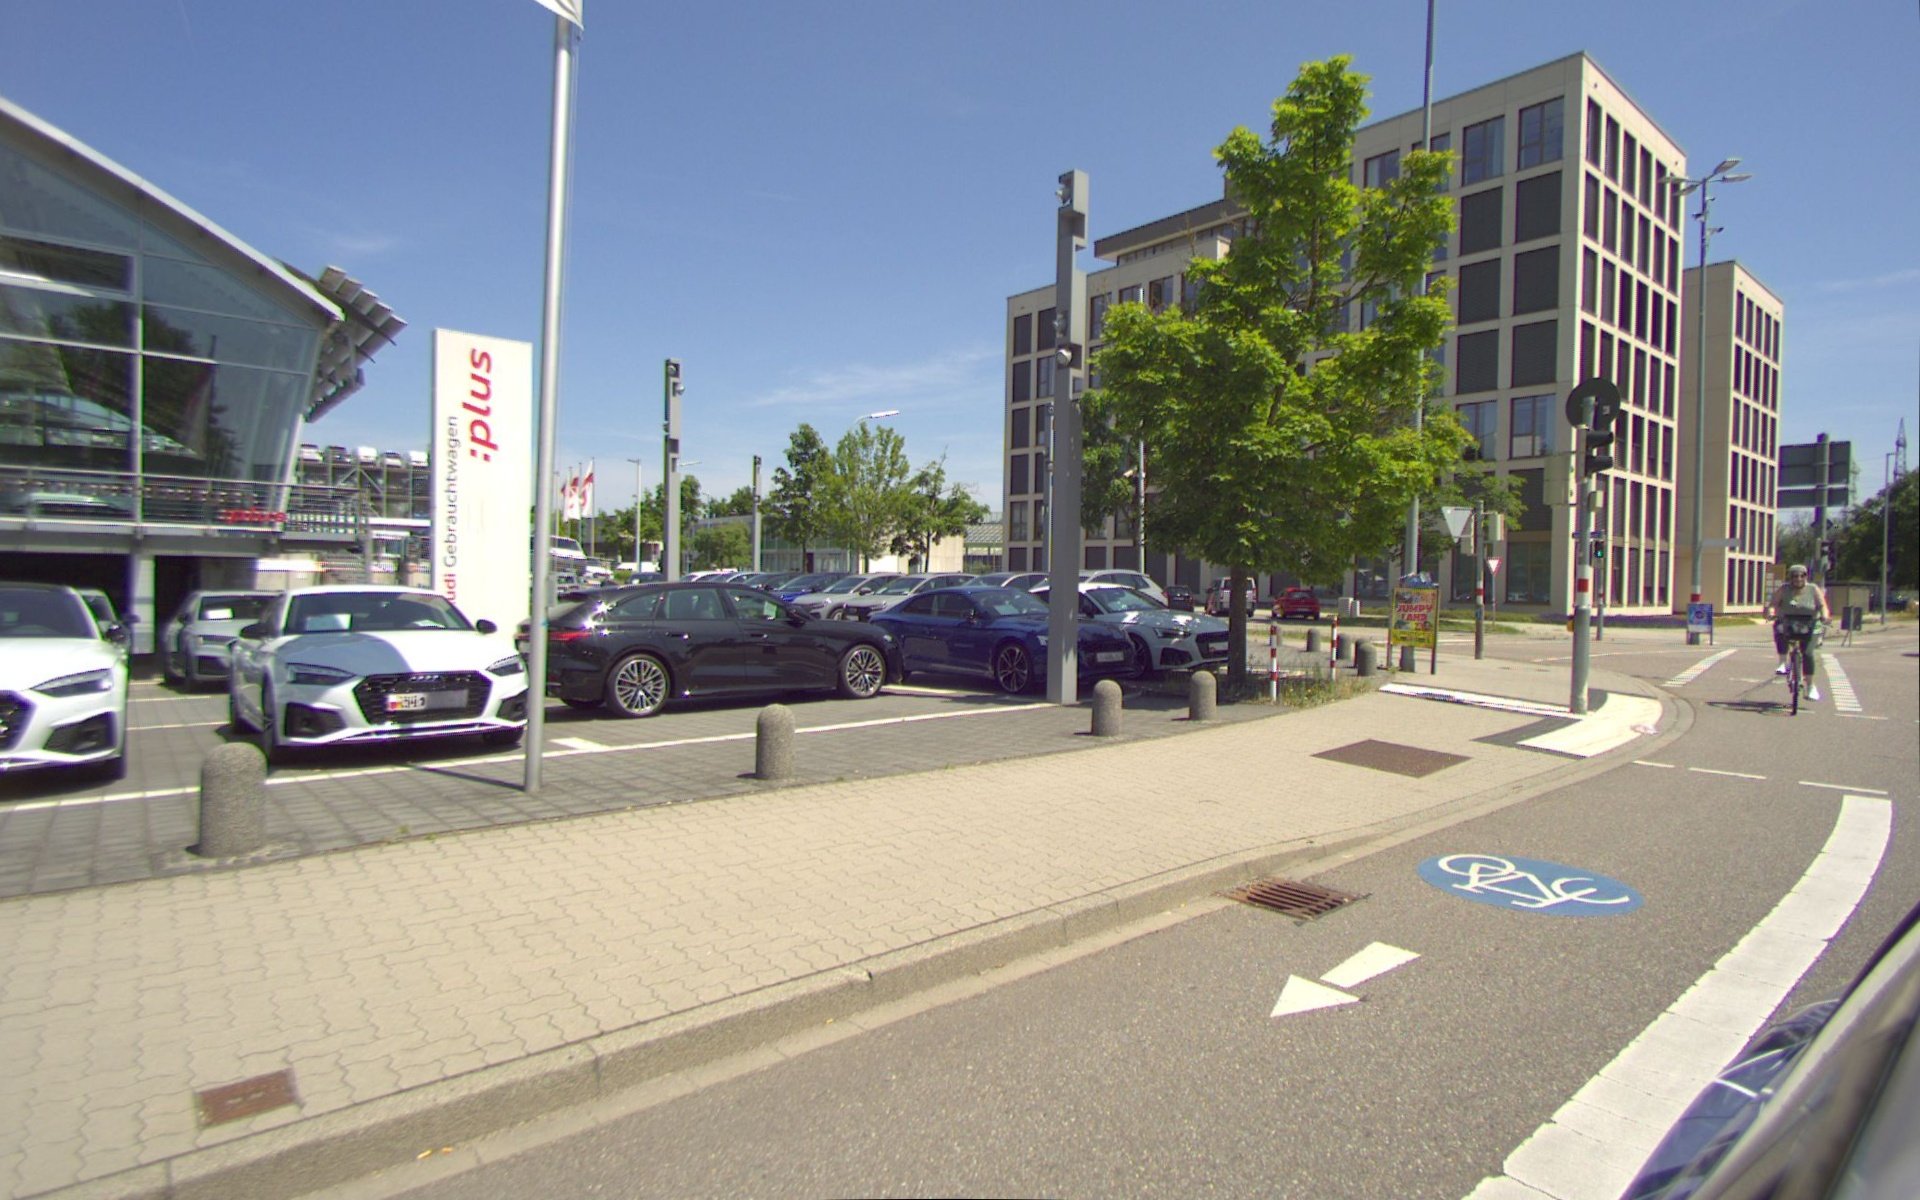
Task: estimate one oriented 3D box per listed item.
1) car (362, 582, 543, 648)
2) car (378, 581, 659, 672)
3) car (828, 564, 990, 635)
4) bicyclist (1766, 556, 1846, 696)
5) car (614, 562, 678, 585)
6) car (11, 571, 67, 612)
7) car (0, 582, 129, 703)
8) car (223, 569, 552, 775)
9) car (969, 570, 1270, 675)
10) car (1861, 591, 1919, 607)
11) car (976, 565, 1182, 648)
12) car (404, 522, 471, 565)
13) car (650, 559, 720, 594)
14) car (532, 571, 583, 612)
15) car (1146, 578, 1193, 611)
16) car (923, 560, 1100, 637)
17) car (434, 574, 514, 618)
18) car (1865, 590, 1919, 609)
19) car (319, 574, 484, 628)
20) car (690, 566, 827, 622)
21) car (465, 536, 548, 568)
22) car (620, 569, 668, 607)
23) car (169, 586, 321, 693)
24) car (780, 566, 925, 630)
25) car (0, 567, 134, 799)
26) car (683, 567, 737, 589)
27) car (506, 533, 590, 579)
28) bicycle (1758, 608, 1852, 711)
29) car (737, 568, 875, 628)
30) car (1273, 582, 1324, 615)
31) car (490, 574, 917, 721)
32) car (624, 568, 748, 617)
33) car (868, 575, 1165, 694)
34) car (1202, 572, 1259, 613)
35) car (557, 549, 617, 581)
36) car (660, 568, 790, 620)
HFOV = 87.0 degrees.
[{"bbox_3d":[-13.179,0.345,26.358,3.928,1.559,1.856,0,2,-39],"label":"car"},{"bbox_3d":[-8.352,0.442,19.343,4.629,1.535,1.879,-1,-1,-38],"label":"car"},{"bbox_3d":[-1.247,-0.009,25.912,3.934,1.675,1.845,0,-1,-45],"label":"car"},{"bbox_3d":[10.276,0.302,12.292,0.811,1.626,0.628,0,-1,-43],"label":"bicyclist"},{"bbox_3d":[-35.543,-2.967,114.748,6.573,2.553,2.217,0,0,-38],"label":"car"},{"bbox_3d":[-38.431,-0.333,42.295,1.583,1.630,3.518,0,-1,-40],"label":"car"},{"bbox_3d":[-13.996,0.606,15.737,1.627,1.642,3.992,0,-1,-40],"label":"car"},{"bbox_3d":[-5.234,0.504,8.965,1.841,1.382,4.103,0,-1,-40],"label":"car"},{"bbox_3d":[2.325,0.326,15.879,1.836,1.408,4.600,0,-1,-40],"label":"car"},{"bbox_3d":[85.776,-0.096,93.314,3.810,1.411,1.716,2,1,36],"label":"car"},{"bbox_3d":[2.629,0.052,21.785,4.424,1.577,1.872,-2,3,-40],"label":"car"},{"bbox_3d":[-22.754,-2.391,43.985,1.878,1.728,4.587,0,1,-37],"label":"car"},{"bbox_3d":[-14.096,-1.204,51.689,1.878,1.715,4.587,0,1,-37],"label":"car"},{"bbox_3d":[-16.222,-0.384,40.925,1.653,1.522,3.811,-2,3,-18],"label":"car"},{"bbox_3d":[10.915,-0.315,52.923,1.886,1.609,3.995,1,1,5],"label":"car"},{"bbox_3d":[1.258,-0.040,24.005,3.925,1.675,1.849,-1,-1,-38],"label":"car"},{"bbox_3d":[-18.822,-0.197,39.353,1.812,1.590,4.006,0,1,-10],"label":"car"},{"bbox_3d":[84.673,-0.051,91.680,3.810,1.571,1.716,2,1,36],"label":"car"},{"bbox_3d":[-15.286,0.009,27.768,3.751,1.363,1.677,0,1,-39],"label":"car"},{"bbox_3d":[-6.362,-0.178,32.172,3.934,1.675,1.845,0,-1,-45],"label":"car"},{"bbox_3d":[-29.251,-3.081,65.331,4.510,1.910,1.910,0,1,-42],"label":"car"},{"bbox_3d":[-13.615,-0.562,43.799,1.811,1.490,4.627,1,2,-16],"label":"car"},{"bbox_3d":[-12.329,0.614,17.344,1.818,1.619,3.992,0,-1,-40],"label":"car"},{"bbox_3d":[-2.888,-0.031,27.720,1.637,1.637,3.755,1,0,45],"label":"car"},{"bbox_3d":[-7.193,0.521,7.328,1.836,1.366,4.106,0,-1,-40],"label":"car"},{"bbox_3d":[-23.640,-2.060,95.736,4.495,2.039,1.997,0,0,-40],"label":"car"},{"bbox_3d":[-19.192,-2.034,47.011,1.881,1.991,5.242,0,1,-42],"label":"car"},{"bbox_3d":[10.335,0.682,12.356,1.862,1.147,0.629,0,0,-42],"label":"bicycle"},{"bbox_3d":[-4.511,-0.072,29.977,1.629,1.675,3.848,0,1,45],"label":"car"},{"bbox_3d":[15.997,-0.111,47.946,1.672,1.450,3.990,0,2,10],"label":"car"},{"bbox_3d":[-2.901,0.456,12.036,4.578,1.438,1.867,-1,-1,-39],"label":"car"},{"bbox_3d":[-9.763,-0.259,36.230,3.934,1.675,1.845,0,-1,-45],"label":"car"},{"bbox_3d":[0.642,0.426,14.138,1.836,1.408,4.103,0,-1,-40],"label":"car"},{"bbox_3d":[13.503,-0.389,50.775,1.886,1.910,4.926,1,1,5],"label":"car"},{"bbox_3d":[-21.721,-1.995,58.871,1.966,1.727,3.992,0,0,-42],"label":"car"},{"bbox_3d":[-7.911,-0.196,34.264,3.934,1.675,1.845,0,-1,-45],"label":"car"}]
